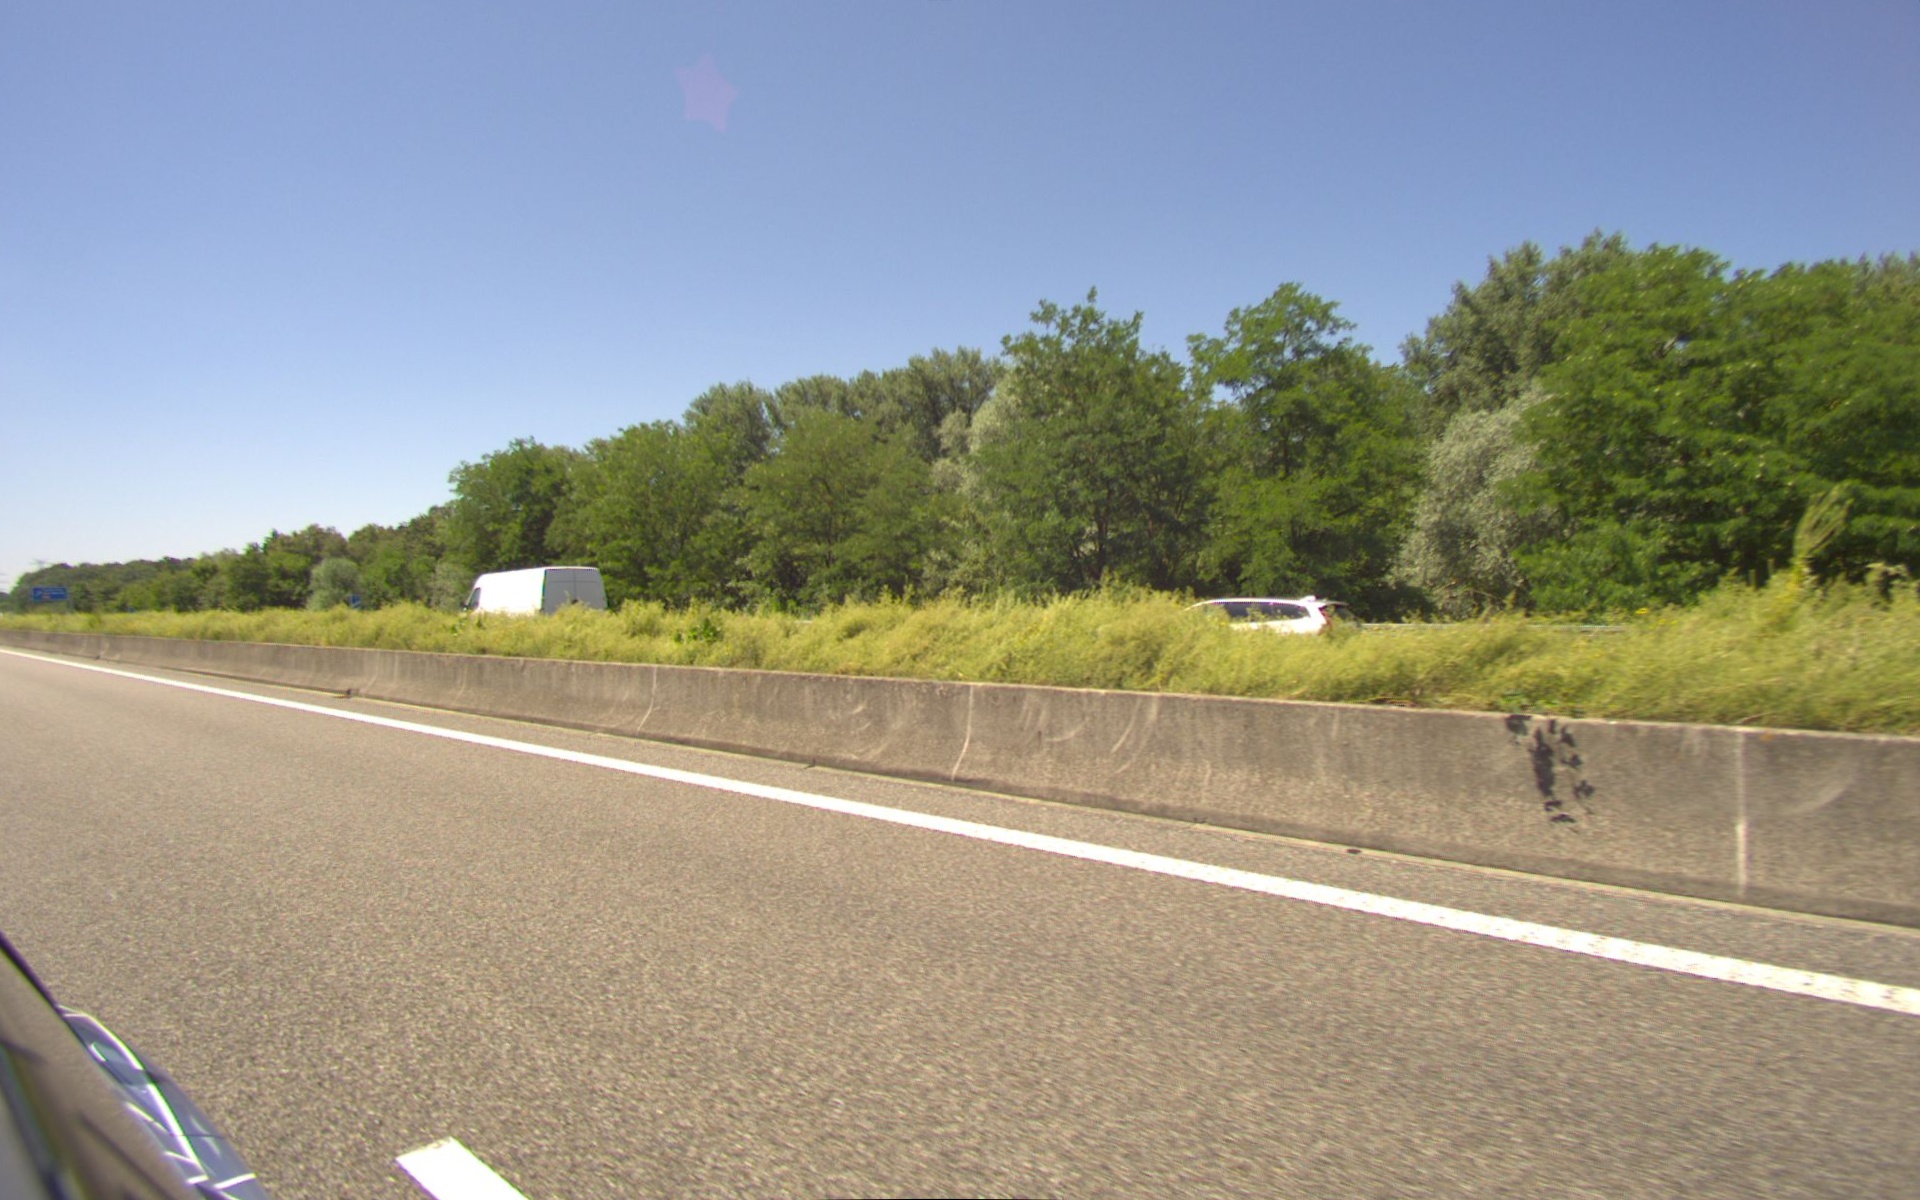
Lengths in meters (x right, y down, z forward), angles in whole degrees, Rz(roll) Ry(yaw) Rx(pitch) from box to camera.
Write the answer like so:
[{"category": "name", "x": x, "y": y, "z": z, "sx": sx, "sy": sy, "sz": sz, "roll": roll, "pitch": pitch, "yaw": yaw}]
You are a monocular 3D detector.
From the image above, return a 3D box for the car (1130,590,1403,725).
[{"category": "car", "x": 5.162, "y": 0.891, "z": 17.299, "sx": 3.998, "sy": 2.029, "sz": 1.973, "roll": -1, "pitch": -1, "yaw": 41}]

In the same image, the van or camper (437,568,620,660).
[{"category": "van or camper", "x": -12.720, "y": 0.408, "z": 29.537, "sx": 6.756, "sy": 2.405, "sz": 2.227, "roll": -1, "pitch": -1, "yaw": 41}]
